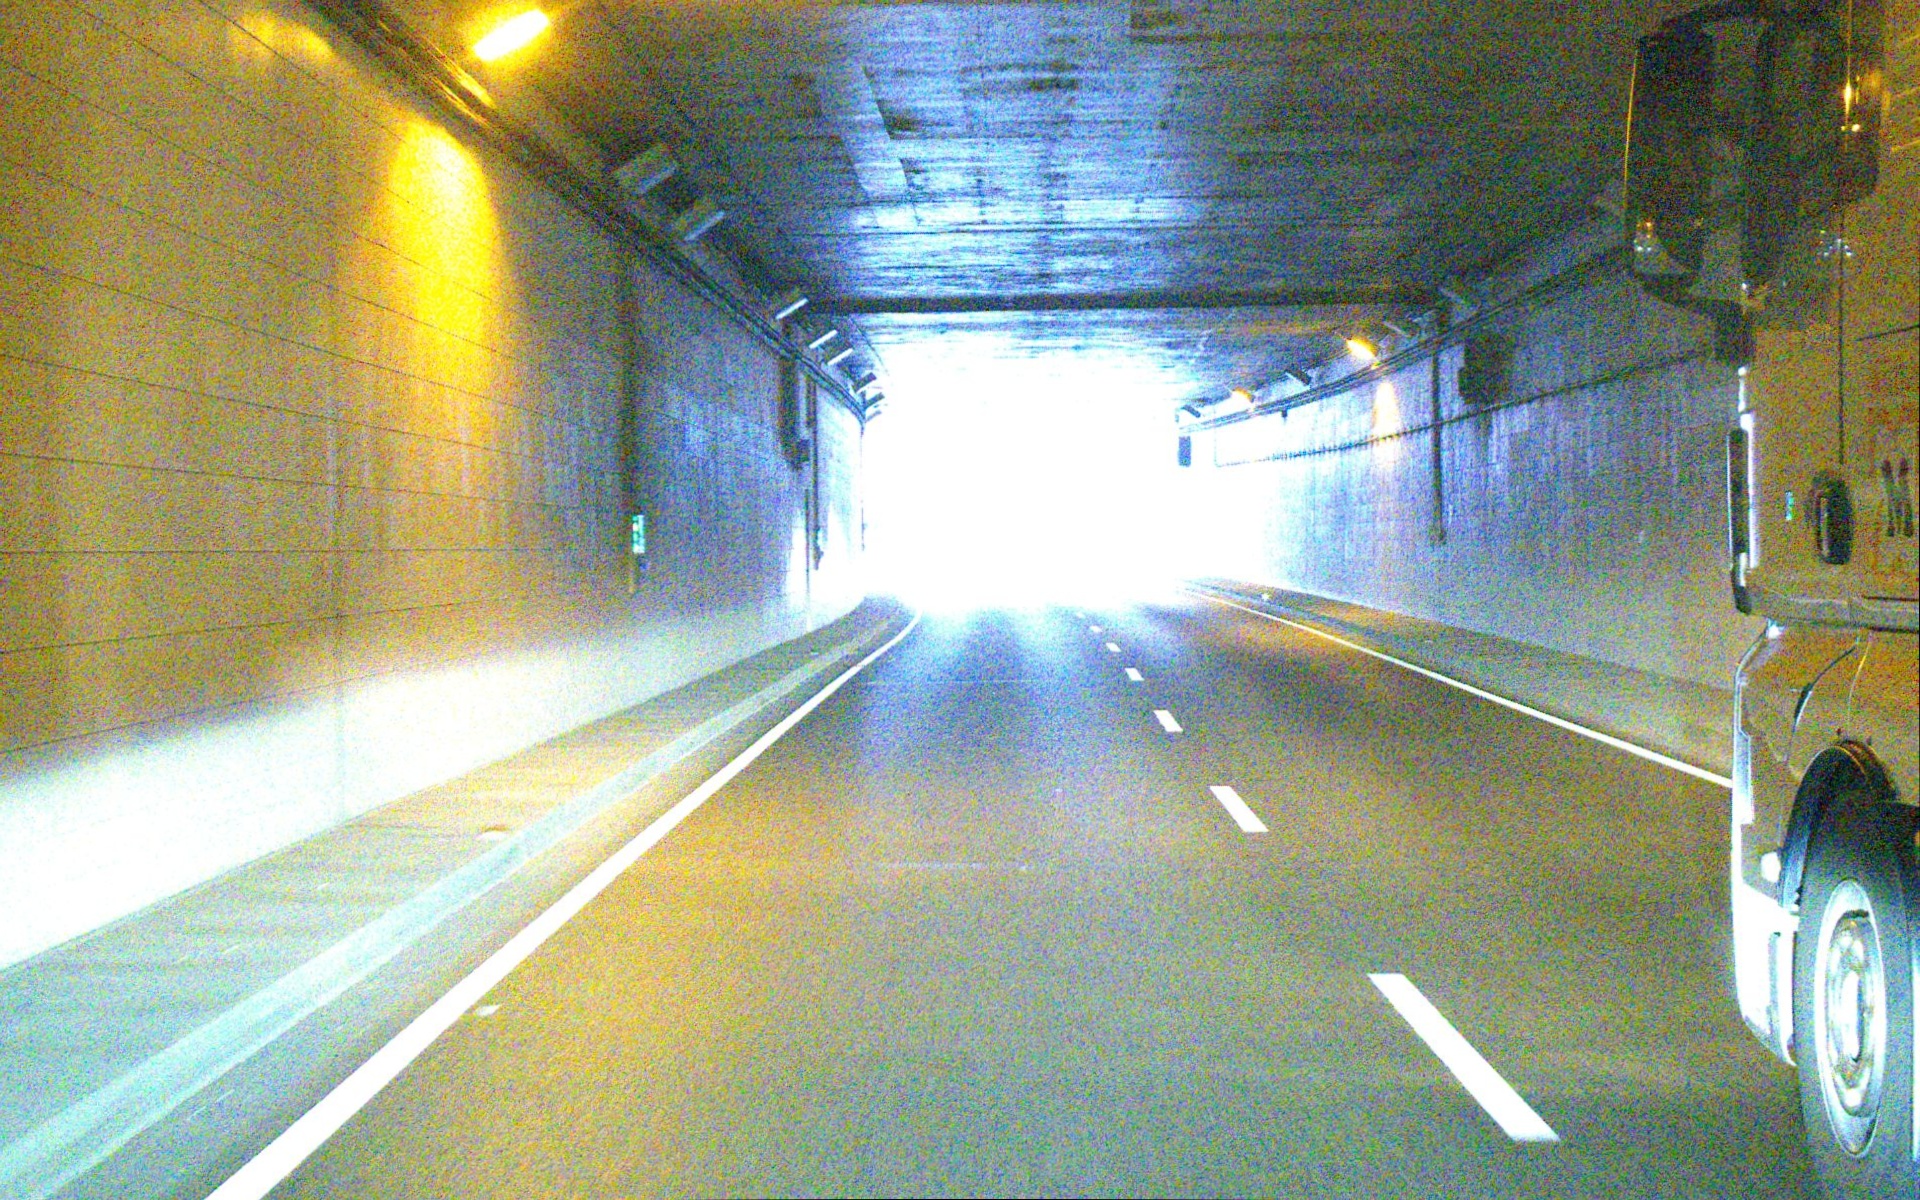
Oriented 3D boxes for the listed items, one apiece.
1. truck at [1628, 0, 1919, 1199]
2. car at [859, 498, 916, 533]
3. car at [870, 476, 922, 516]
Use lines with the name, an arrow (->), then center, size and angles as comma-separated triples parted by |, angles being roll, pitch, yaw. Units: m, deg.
truck -> 3.215, -0.585, 3.868 | 2.888, 3.900, 9.910 | -1, 1, -1
car -> -3.009, -3.493, 141.969 | 1.841, 1.384, 4.001 | -1, 1, -9
car -> -2.906, -4.712, 155.720 | 1.869, 1.726, 4.001 | -1, 1, -8
